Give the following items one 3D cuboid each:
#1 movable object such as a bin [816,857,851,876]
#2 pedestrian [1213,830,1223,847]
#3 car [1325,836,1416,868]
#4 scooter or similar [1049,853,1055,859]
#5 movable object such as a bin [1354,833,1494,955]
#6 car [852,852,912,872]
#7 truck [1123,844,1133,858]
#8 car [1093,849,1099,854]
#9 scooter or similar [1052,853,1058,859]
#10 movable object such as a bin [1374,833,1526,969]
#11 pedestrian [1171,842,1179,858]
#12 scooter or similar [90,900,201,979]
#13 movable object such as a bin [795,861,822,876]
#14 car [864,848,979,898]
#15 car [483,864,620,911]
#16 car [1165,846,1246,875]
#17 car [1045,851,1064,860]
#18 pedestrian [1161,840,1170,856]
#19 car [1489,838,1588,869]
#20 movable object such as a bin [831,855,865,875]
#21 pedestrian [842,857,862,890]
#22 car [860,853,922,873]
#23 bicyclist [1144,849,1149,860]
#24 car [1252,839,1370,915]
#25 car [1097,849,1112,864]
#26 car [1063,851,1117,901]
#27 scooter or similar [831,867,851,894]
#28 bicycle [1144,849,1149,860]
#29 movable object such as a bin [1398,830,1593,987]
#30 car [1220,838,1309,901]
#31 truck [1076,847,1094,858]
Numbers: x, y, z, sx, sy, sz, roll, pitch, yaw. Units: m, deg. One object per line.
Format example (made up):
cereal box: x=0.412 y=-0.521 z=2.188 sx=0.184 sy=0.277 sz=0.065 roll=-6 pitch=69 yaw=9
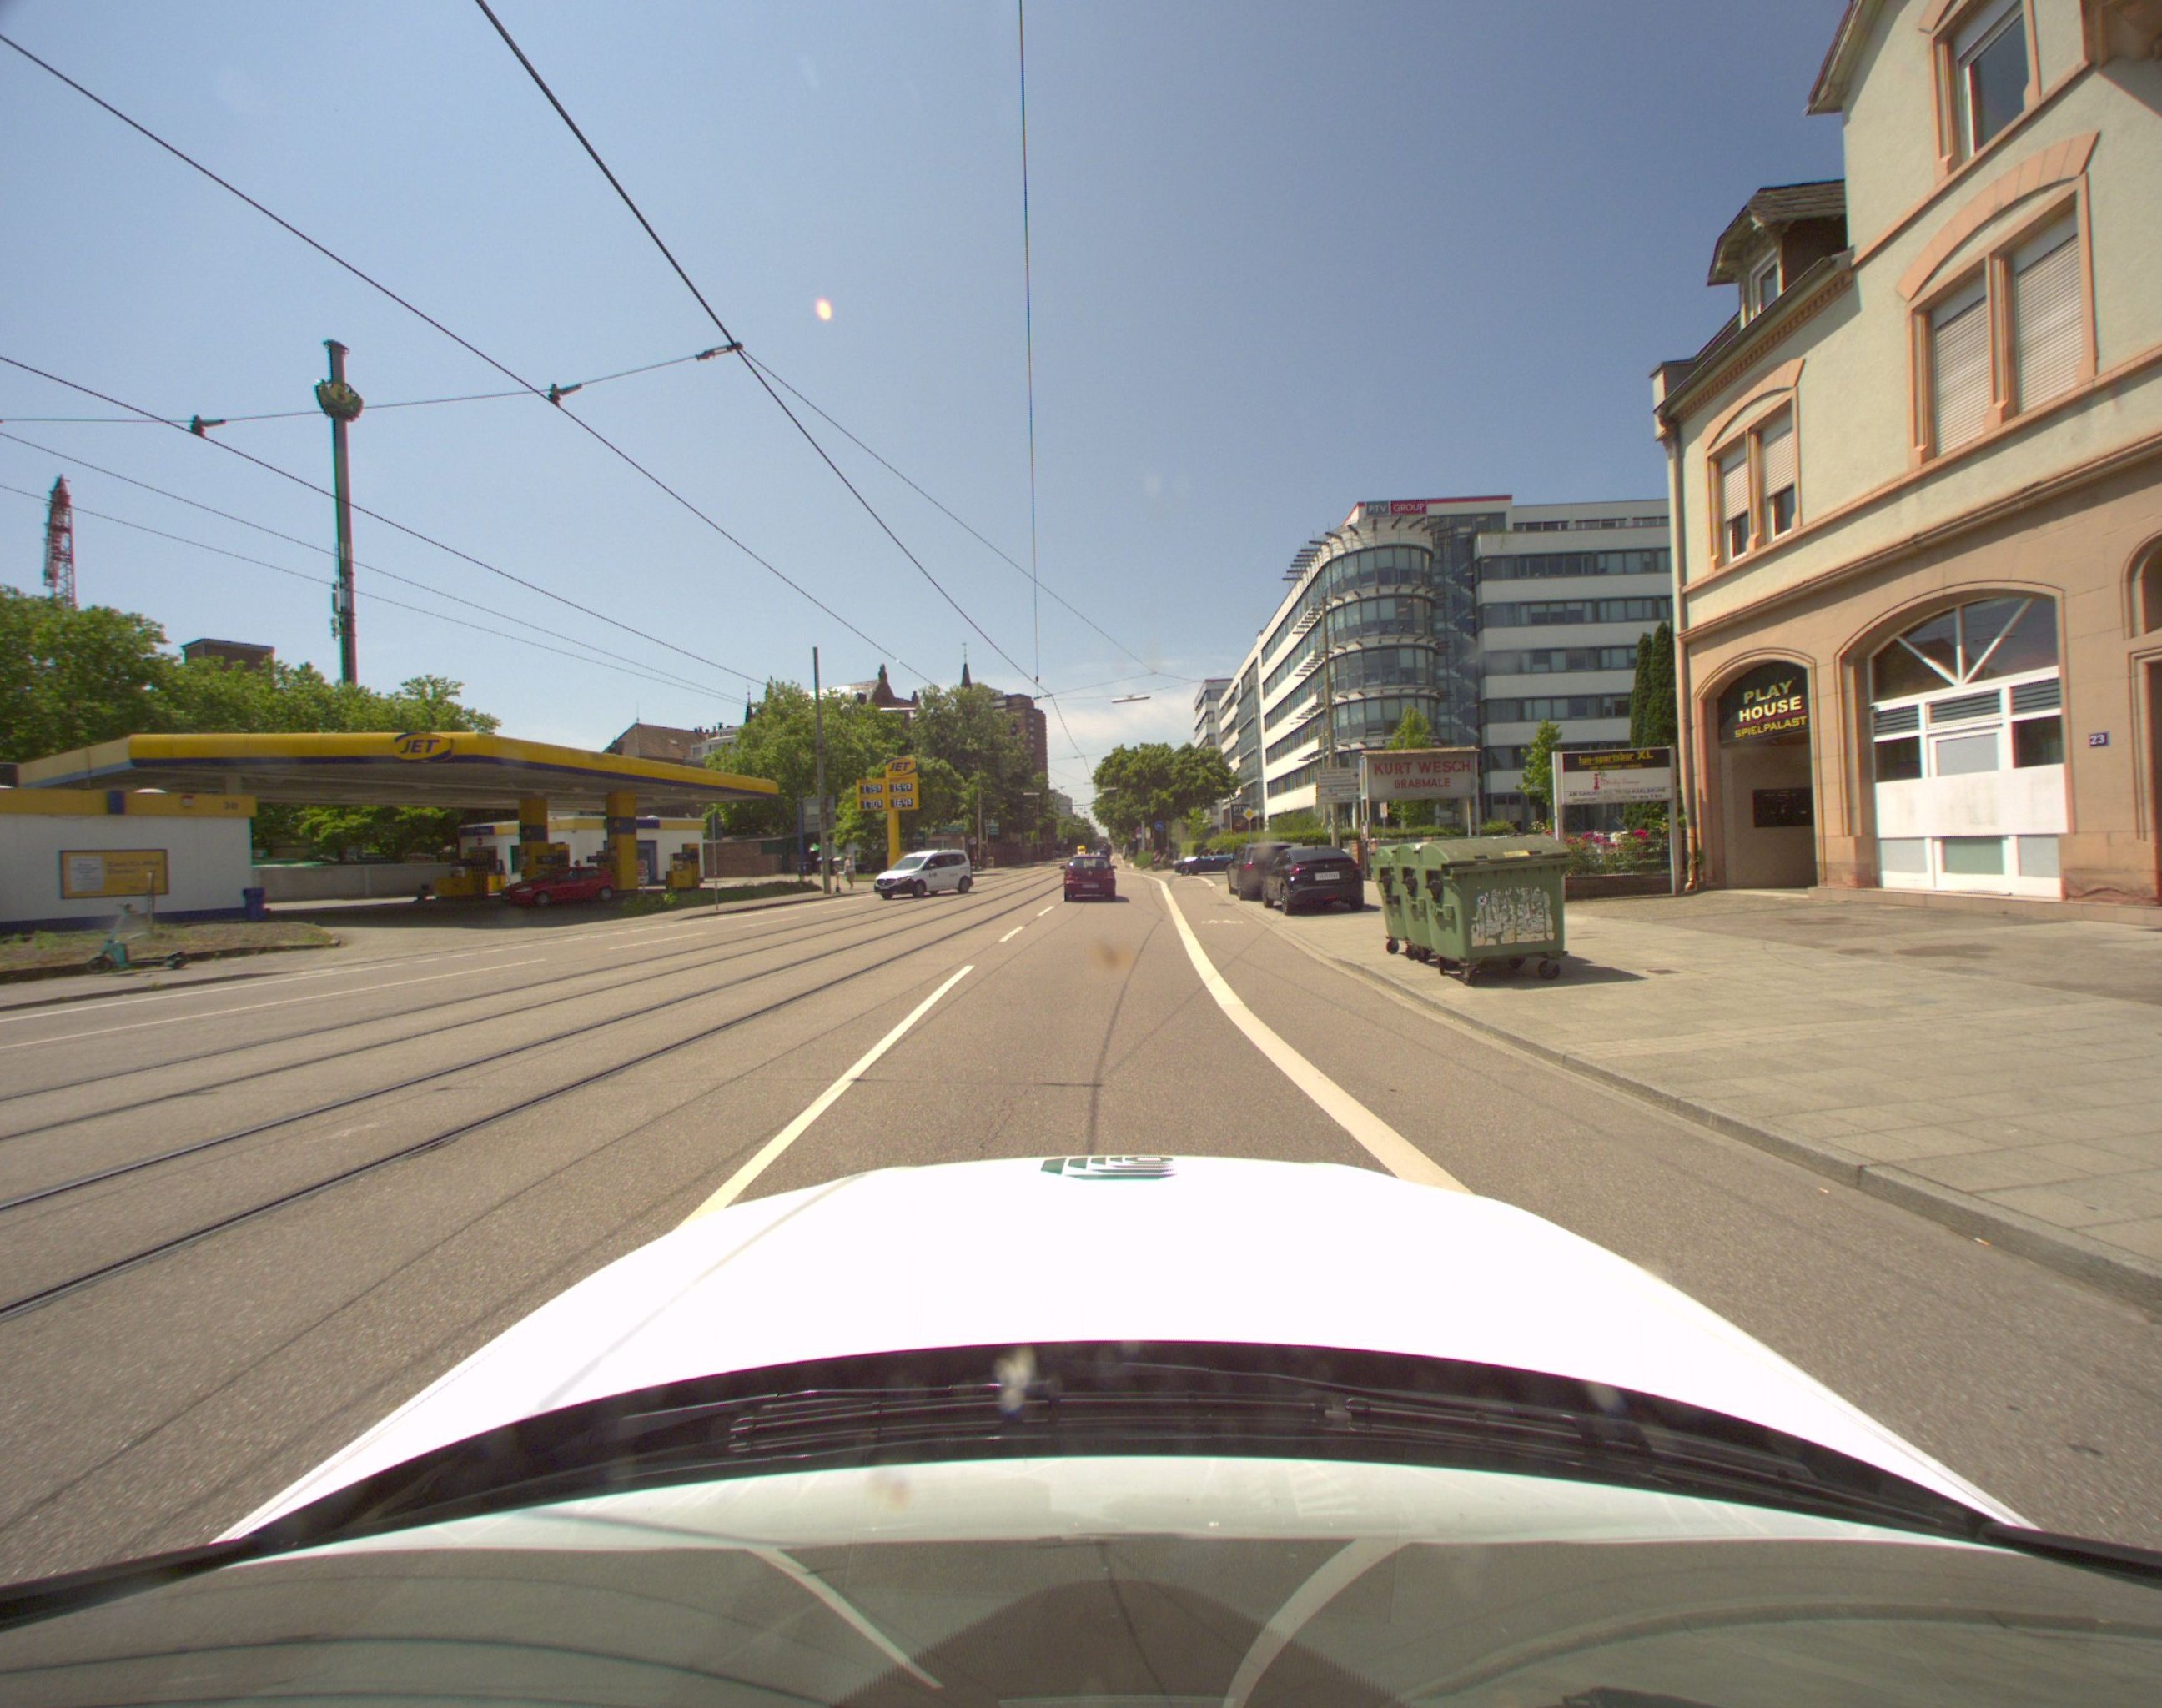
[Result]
movable object such as a bin: x=-19.539 y=0.975 z=64.327 sx=1.507 sy=1.432 sz=2.112 roll=-1 pitch=0 yaw=27
pedestrian: x=13.967 y=-1.582 z=82.923 sx=0.868 sy=1.715 sz=1.093 roll=-4 pitch=-1 yaw=12
car: x=15.038 y=-0.088 z=42.509 sx=4.127 sy=1.459 sz=1.821 roll=-2 pitch=0 yaw=6
scooter or similar: x=-5.711 y=0.406 z=160.352 sx=1.092 sy=1.155 sz=0.524 roll=-1 pitch=0 yaw=-19
movable object such as a bin: x=4.549 y=0.505 z=10.904 sx=1.319 sy=1.455 sz=1.057 roll=-4 pitch=0 yaw=-1
car: x=-16.277 y=0.633 z=66.667 sx=1.911 sy=1.488 sz=4.478 roll=-1 pitch=1 yaw=42
truck: x=9.628 y=-0.643 z=166.538 sx=1.986 sy=2.661 sz=4.878 roll=-1 pitch=0 yaw=2
car: x=4.675 y=-0.660 z=253.397 sx=1.763 sy=1.515 sz=4.003 roll=-2 pitch=0 yaw=3
scooter or similar: x=-5.261 y=0.356 z=163.656 sx=1.092 sy=1.155 sz=0.524 roll=-1 pitch=0 yaw=-19
movable object such as a bin: x=4.394 y=0.530 z=9.797 sx=1.243 sy=1.455 sz=1.057 roll=-4 pitch=0 yaw=-1
pedestrian: x=10.867 y=-0.468 z=94.148 sx=0.540 sy=1.715 sz=0.560 roll=-3 pitch=-1 yaw=-27
scooter or similar: x=-16.706 y=1.501 z=14.573 sx=0.341 sy=1.264 sz=1.249 roll=-1 pitch=0 yaw=27
movable object such as a bin: x=-21.859 y=1.163 z=65.355 sx=1.391 sy=1.138 sz=1.573 roll=-1 pitch=0 yaw=27
car: x=-6.249 y=0.712 z=32.428 sx=1.974 sy=1.799 sz=4.581 roll=-2 pitch=0 yaw=29
car: x=-20.984 y=1.268 z=32.478 sx=1.809 sy=1.504 sz=4.224 roll=0 pitch=2 yaw=26
car: x=6.588 y=0.338 z=43.118 sx=3.877 sy=1.372 sz=1.713 roll=-3 pitch=0 yaw=27
car: x=-6.164 y=0.307 z=190.474 sx=3.966 sy=2.013 sz=2.004 roll=-2 pitch=0 yaw=6
pedestrian: x=9.839 y=-0.730 z=94.501 sx=0.681 sy=1.796 sz=0.668 roll=-4 pitch=0 yaw=-29
car: x=23.711 y=-0.049 z=42.282 sx=4.134 sy=1.409 sz=1.768 roll=-2 pitch=0 yaw=1
movable object such as a bin: x=-18.162 y=0.831 z=63.605 sx=1.507 sy=1.509 sz=2.112 roll=-1 pitch=0 yaw=27
pedestrian: x=-11.762 y=0.992 z=41.799 sx=0.620 sy=1.691 sz=0.725 roll=-2 pitch=0 yaw=16
car: x=-15.077 y=0.691 z=64.779 sx=1.911 sy=1.488 sz=4.478 roll=-1 pitch=1 yaw=42
bicyclist: x=10.607 y=0.077 z=132.458 sx=0.693 sy=1.799 sz=0.889 roll=-4 pitch=-1 yaw=5
car: x=5.501 y=0.512 z=20.076 sx=1.765 sy=1.548 sz=4.471 roll=-4 pitch=0 yaw=3
car: x=3.101 y=0.326 z=108.821 sx=1.987 sy=2.013 sz=4.000 roll=-1 pitch=0 yaw=0
car: x=0.240 y=0.653 z=26.562 sx=1.614 sy=1.486 sz=3.998 roll=-1 pitch=0 yaw=-1
scooter or similar: x=-11.170 y=1.236 z=37.908 sx=0.517 sy=1.200 sz=1.376 roll=-1 pitch=0 yaw=0
bicycle: x=10.610 y=0.087 z=132.457 sx=0.686 sy=1.785 sz=1.813 roll=-4 pitch=-1 yaw=6
movable object such as a bin: x=4.335 y=0.536 z=8.646 sx=1.388 sy=1.455 sz=1.139 roll=-4 pitch=0 yaw=-1
car: x=5.756 y=0.432 z=26.168 sx=1.916 sy=1.693 sz=5.087 roll=-4 pitch=0 yaw=4
truck: x=0.990 y=-0.388 z=205.457 sx=2.350 sy=2.787 sz=7.354 roll=-2 pitch=0 yaw=18
